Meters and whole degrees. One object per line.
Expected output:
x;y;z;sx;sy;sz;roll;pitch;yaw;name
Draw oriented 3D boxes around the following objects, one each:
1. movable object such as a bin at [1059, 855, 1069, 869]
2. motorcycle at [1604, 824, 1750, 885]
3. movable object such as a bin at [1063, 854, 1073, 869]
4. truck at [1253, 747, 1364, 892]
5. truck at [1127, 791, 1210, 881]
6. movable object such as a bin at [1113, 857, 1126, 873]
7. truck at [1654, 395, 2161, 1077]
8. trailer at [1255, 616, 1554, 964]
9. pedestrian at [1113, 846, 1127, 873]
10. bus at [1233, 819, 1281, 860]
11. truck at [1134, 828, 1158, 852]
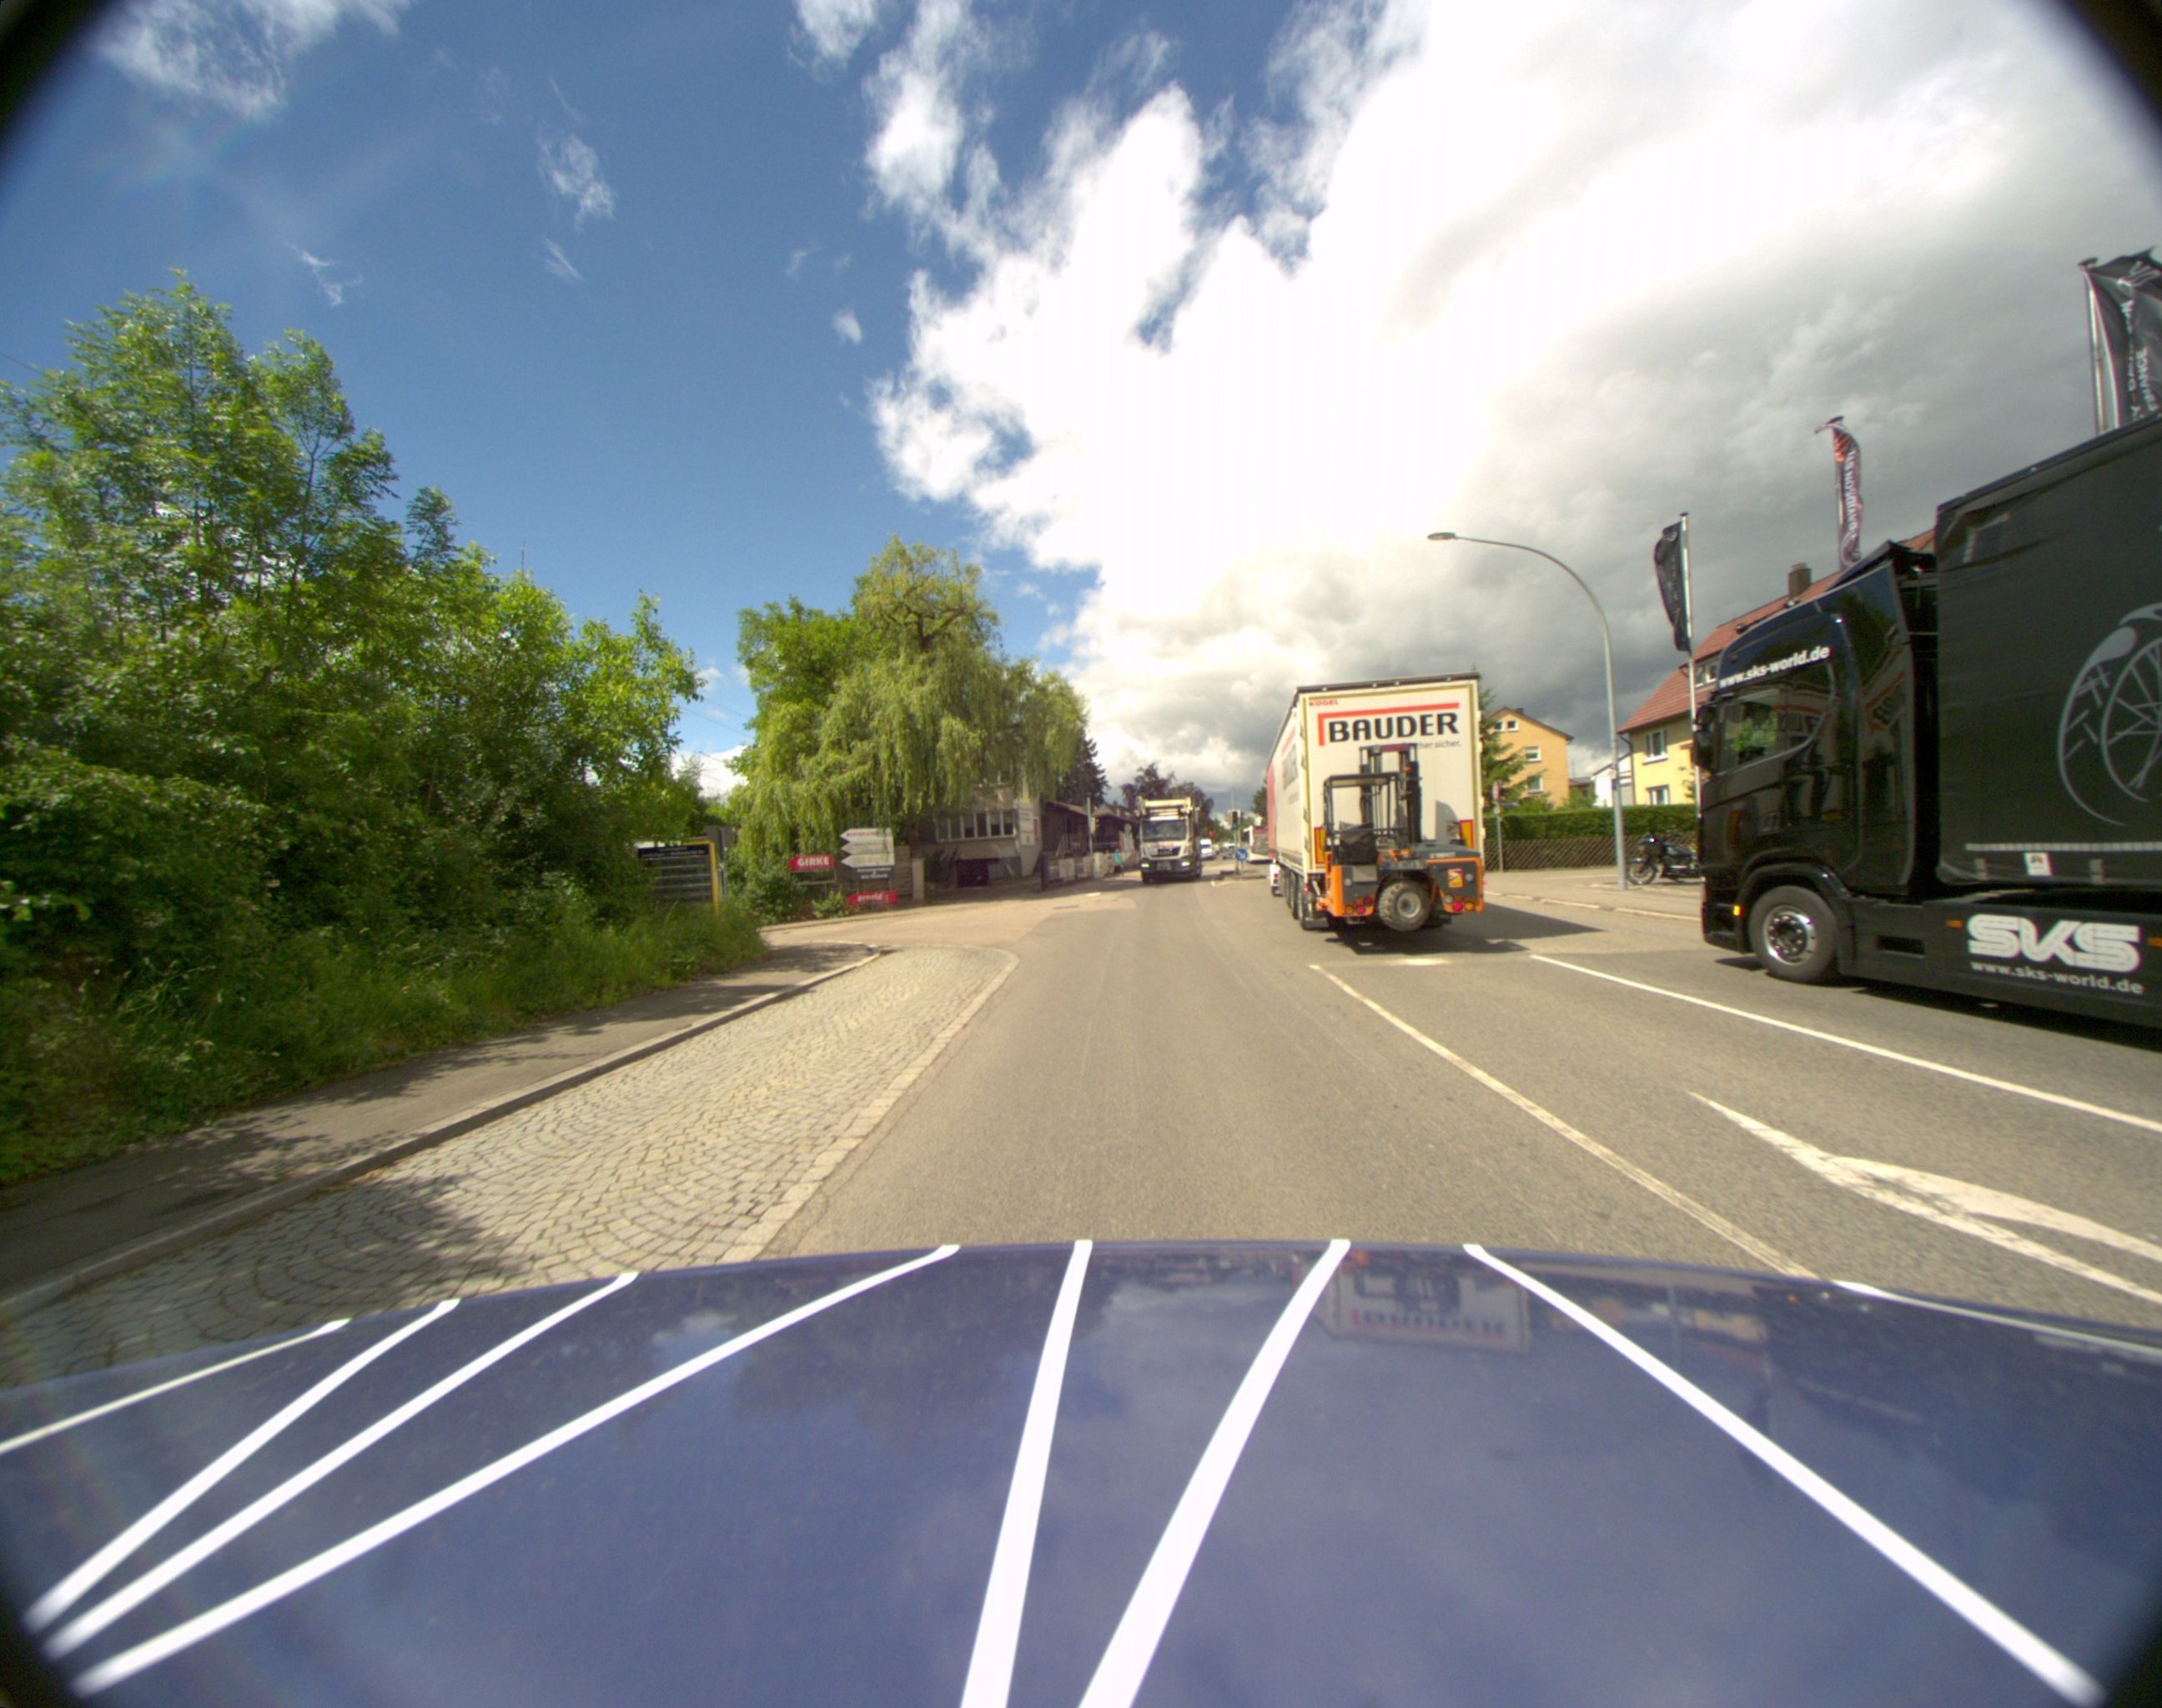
-1.113;0.523;50.245;0.482;0.925;0.475;-3;1;12;movable object such as a bin
14.118;0.031;18.041;1.468;1.284;2.446;-4;1;-40;motorcycle
-0.877;0.495;51.336;0.482;0.925;0.584;-3;1;12;movable object such as a bin
7.238;-1.048;24.782;2.776;4.096;4.989;-3;1;11;truck
4.581;-0.887;37.749;2.662;3.789;9.823;-3;1;14;truck
2.223;0.639;43.976;0.670;0.866;0.748;-1;1;1;movable object such as a bin
7.878;-0.761;5.452;2.805;4.030;6.502;-3;1;4;truck
5.712;-0.904;16.987;2.776;4.121;15.360;-3;1;11;trailer
2.214;0.301;43.404;0.733;1.534;0.841;-1;1;1;pedestrian
14.672;-1.221;64.219;2.724;3.013;12.270;-2;1;8;bus
8.266;-1.800;95.550;2.089;2.812;5.207;-3;1;14;truck
